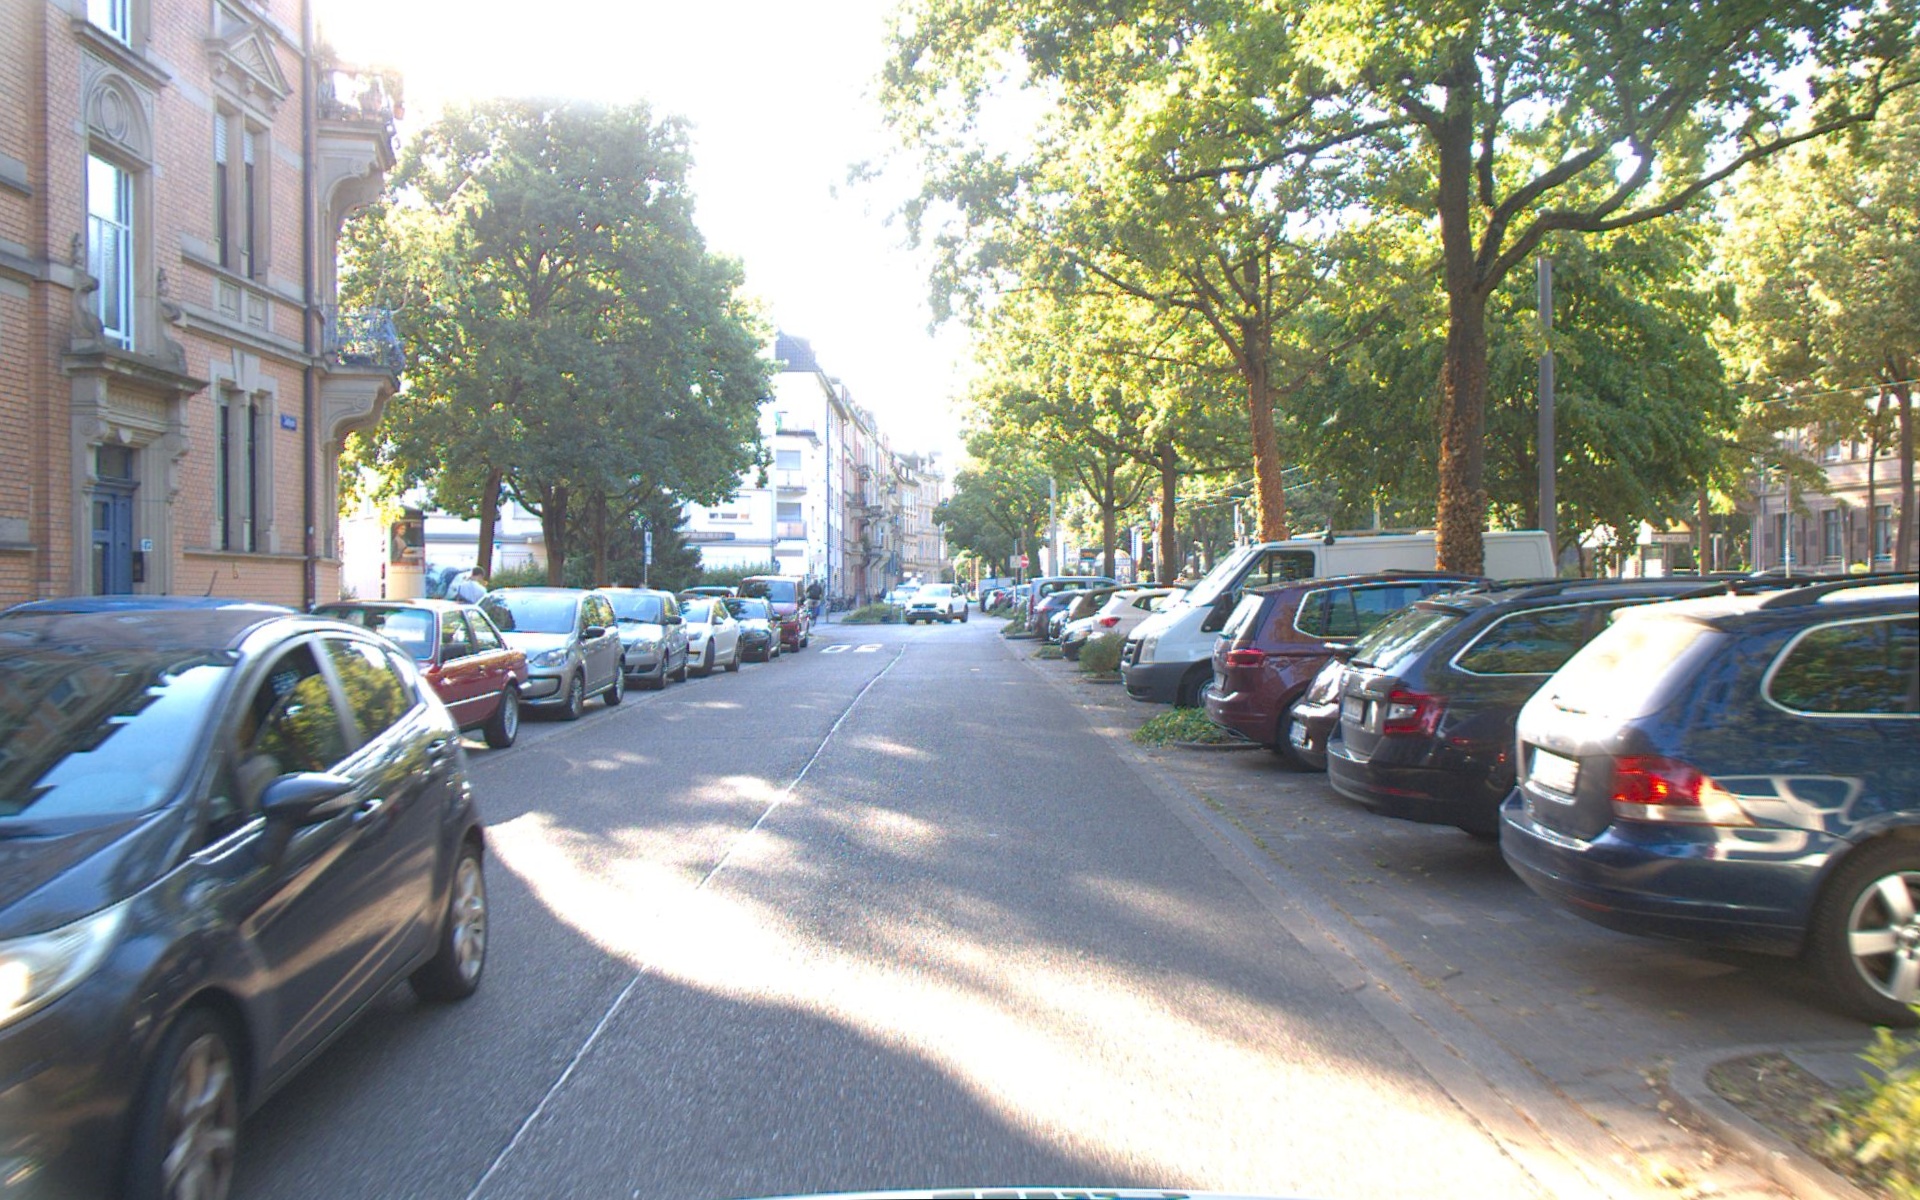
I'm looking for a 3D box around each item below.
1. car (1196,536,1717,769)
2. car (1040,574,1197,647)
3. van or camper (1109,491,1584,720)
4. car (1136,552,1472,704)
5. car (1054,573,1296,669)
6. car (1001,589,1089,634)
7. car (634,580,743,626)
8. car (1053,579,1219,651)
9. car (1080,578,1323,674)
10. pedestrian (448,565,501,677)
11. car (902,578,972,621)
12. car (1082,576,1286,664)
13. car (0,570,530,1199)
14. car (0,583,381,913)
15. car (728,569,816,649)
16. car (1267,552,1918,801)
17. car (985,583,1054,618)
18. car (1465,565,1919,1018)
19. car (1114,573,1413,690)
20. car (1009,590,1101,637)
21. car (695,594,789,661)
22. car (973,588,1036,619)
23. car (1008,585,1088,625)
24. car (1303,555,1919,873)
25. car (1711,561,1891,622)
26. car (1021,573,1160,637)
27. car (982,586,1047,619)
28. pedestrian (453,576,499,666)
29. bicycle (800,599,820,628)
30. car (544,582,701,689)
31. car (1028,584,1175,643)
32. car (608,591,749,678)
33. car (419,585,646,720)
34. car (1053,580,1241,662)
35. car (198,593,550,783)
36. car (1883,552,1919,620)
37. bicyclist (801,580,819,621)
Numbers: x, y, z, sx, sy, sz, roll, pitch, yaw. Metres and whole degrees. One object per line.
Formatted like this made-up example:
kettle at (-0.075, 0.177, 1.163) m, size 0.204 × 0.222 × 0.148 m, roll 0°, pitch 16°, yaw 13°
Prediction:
car at (4.140, 0.420, 14.285) m, size 3.905 × 1.721 × 1.859 m, roll -2°, pitch 0°, yaw 1°
car at (4.160, 0.294, 43.782) m, size 3.907 × 1.857 × 1.858 m, roll 1°, pitch -1°, yaw -3°
van or camper at (4.262, 0.088, 18.847) m, size 4.881 × 2.419 × 2.184 m, roll 1°, pitch -1°, yaw -2°
car at (4.372, 0.343, 21.414) m, size 3.907 × 1.849 × 1.858 m, roll 1°, pitch 0°, yaw -3°
car at (4.027, 0.407, 31.456) m, size 4.302 × 1.729 × 1.858 m, roll 1°, pitch -1°, yaw -3°
car at (4.058, 0.557, 78.605) m, size 3.902 × 2.049 × 2.001 m, roll 0°, pitch -1°, yaw 11°
car at (-10.704, 0.131, 65.412) m, size 3.905 × 1.736 × 2.000 m, roll 0°, pitch -1°, yaw 1°
car at (4.383, 0.392, 41.485) m, size 3.907 × 1.729 × 1.858 m, roll 1°, pitch -1°, yaw -3°
car at (4.149, 0.464, 28.840) m, size 3.907 × 1.575 × 1.858 m, roll 1°, pitch -1°, yaw -3°
pedestrian at (-7.575, 0.313, 25.837) m, size 0.585 × 1.697 × 0.708 m, roll -1°, pitch 2°, yaw -1°
car at (-0.919, -0.023, 68.758) m, size 1.741 × 1.703 × 4.490 m, roll 1°, pitch 0°, yaw 15°
car at (4.576, 0.425, 34.172) m, size 3.907 × 1.729 × 1.858 m, roll 1°, pitch -1°, yaw -3°
car at (-2.490, 0.709, 4.786) m, size 1.635 × 1.489 × 3.997 m, roll -2°, pitch 0°, yaw -4°
car at (-4.889, 0.672, 9.688) m, size 1.636 × 1.512 × 3.999 m, roll 1°, pitch 0°, yaw -1°
car at (-5.068, 0.227, 45.081) m, size 1.917 × 2.053 × 4.267 m, roll 0°, pitch 0°, yaw -1°
car at (4.336, 0.500, 11.825) m, size 3.905 × 1.486 × 1.859 m, roll -2°, pitch 0°, yaw 1°
car at (3.603, 0.012, 99.754) m, size 3.902 × 2.049 × 2.001 m, roll 0°, pitch -1°, yaw 11°
car at (4.251, 0.591, 6.315) m, size 4.131 × 1.478 × 1.650 m, roll -2°, pitch 0°, yaw 4°
car at (4.294, 0.460, 23.785) m, size 3.907 × 1.575 × 1.858 m, roll 1°, pitch -1°, yaw -3°
car at (4.335, 0.626, 75.067) m, size 3.902 × 2.049 × 2.001 m, roll 0°, pitch -1°, yaw 11°
car at (-5.154, 0.621, 39.545) m, size 1.720 × 1.491 × 4.267 m, roll 0°, pitch 0°, yaw -1°
car at (2.947, 0.245, 110.138) m, size 3.902 × 2.049 × 2.001 m, roll 0°, pitch -1°, yaw 11°
car at (4.620, 0.270, 86.325) m, size 3.902 × 2.049 × 2.001 m, roll 0°, pitch -1°, yaw 11°
car at (4.182, 0.538, 9.209) m, size 4.133 × 1.478 × 1.865 m, roll -2°, pitch 0°, yaw 1°
car at (24.804, -0.218, 48.979) m, size 4.603 × 1.713 × 1.999 m, roll 0°, pitch -2°, yaw 22°
car at (3.841, 0.175, 49.126) m, size 3.907 × 1.825 × 1.858 m, roll 1°, pitch -1°, yaw -3°
car at (3.542, 0.169, 106.611) m, size 3.902 × 2.049 × 2.001 m, roll 0°, pitch -1°, yaw 11°
pedestrian at (-8.667, 0.369, 29.661) m, size 0.585 × 1.577 × 0.708 m, roll -1°, pitch 2°, yaw -1°
bicycle at (-5.934, 0.533, 65.381) m, size 0.628 × 1.119 × 1.943 m, roll 1°, pitch -1°, yaw -1°
car at (-5.249, 0.505, 26.232) m, size 1.721 × 1.542 × 4.160 m, roll 0°, pitch 0°, yaw -1°
car at (3.941, 0.402, 46.452) m, size 3.907 × 1.591 × 1.858 m, roll 1°, pitch -1°, yaw -3°
car at (-5.163, 0.584, 30.888) m, size 1.720 × 1.491 × 4.269 m, roll 0°, pitch 0°, yaw 3°
car at (-5.130, 0.572, 20.355) m, size 1.668 × 1.454 × 3.878 m, roll 2°, pitch 0°, yaw 1°
car at (4.116, 0.482, 36.821) m, size 3.907 × 1.729 × 1.858 m, roll 1°, pitch -1°, yaw -3°
car at (-5.062, 0.672, 14.919) m, size 1.636 × 1.454 × 4.241 m, roll 0°, pitch 0°, yaw 0°
car at (26.452, -0.354, 42.451) m, size 4.604 × 1.713 × 1.999 m, roll 0°, pitch -2°, yaw 23°
bicyclist at (-5.930, 0.041, 65.435) m, size 0.615 × 1.601 × 0.802 m, roll 1°, pitch -2°, yaw -2°
